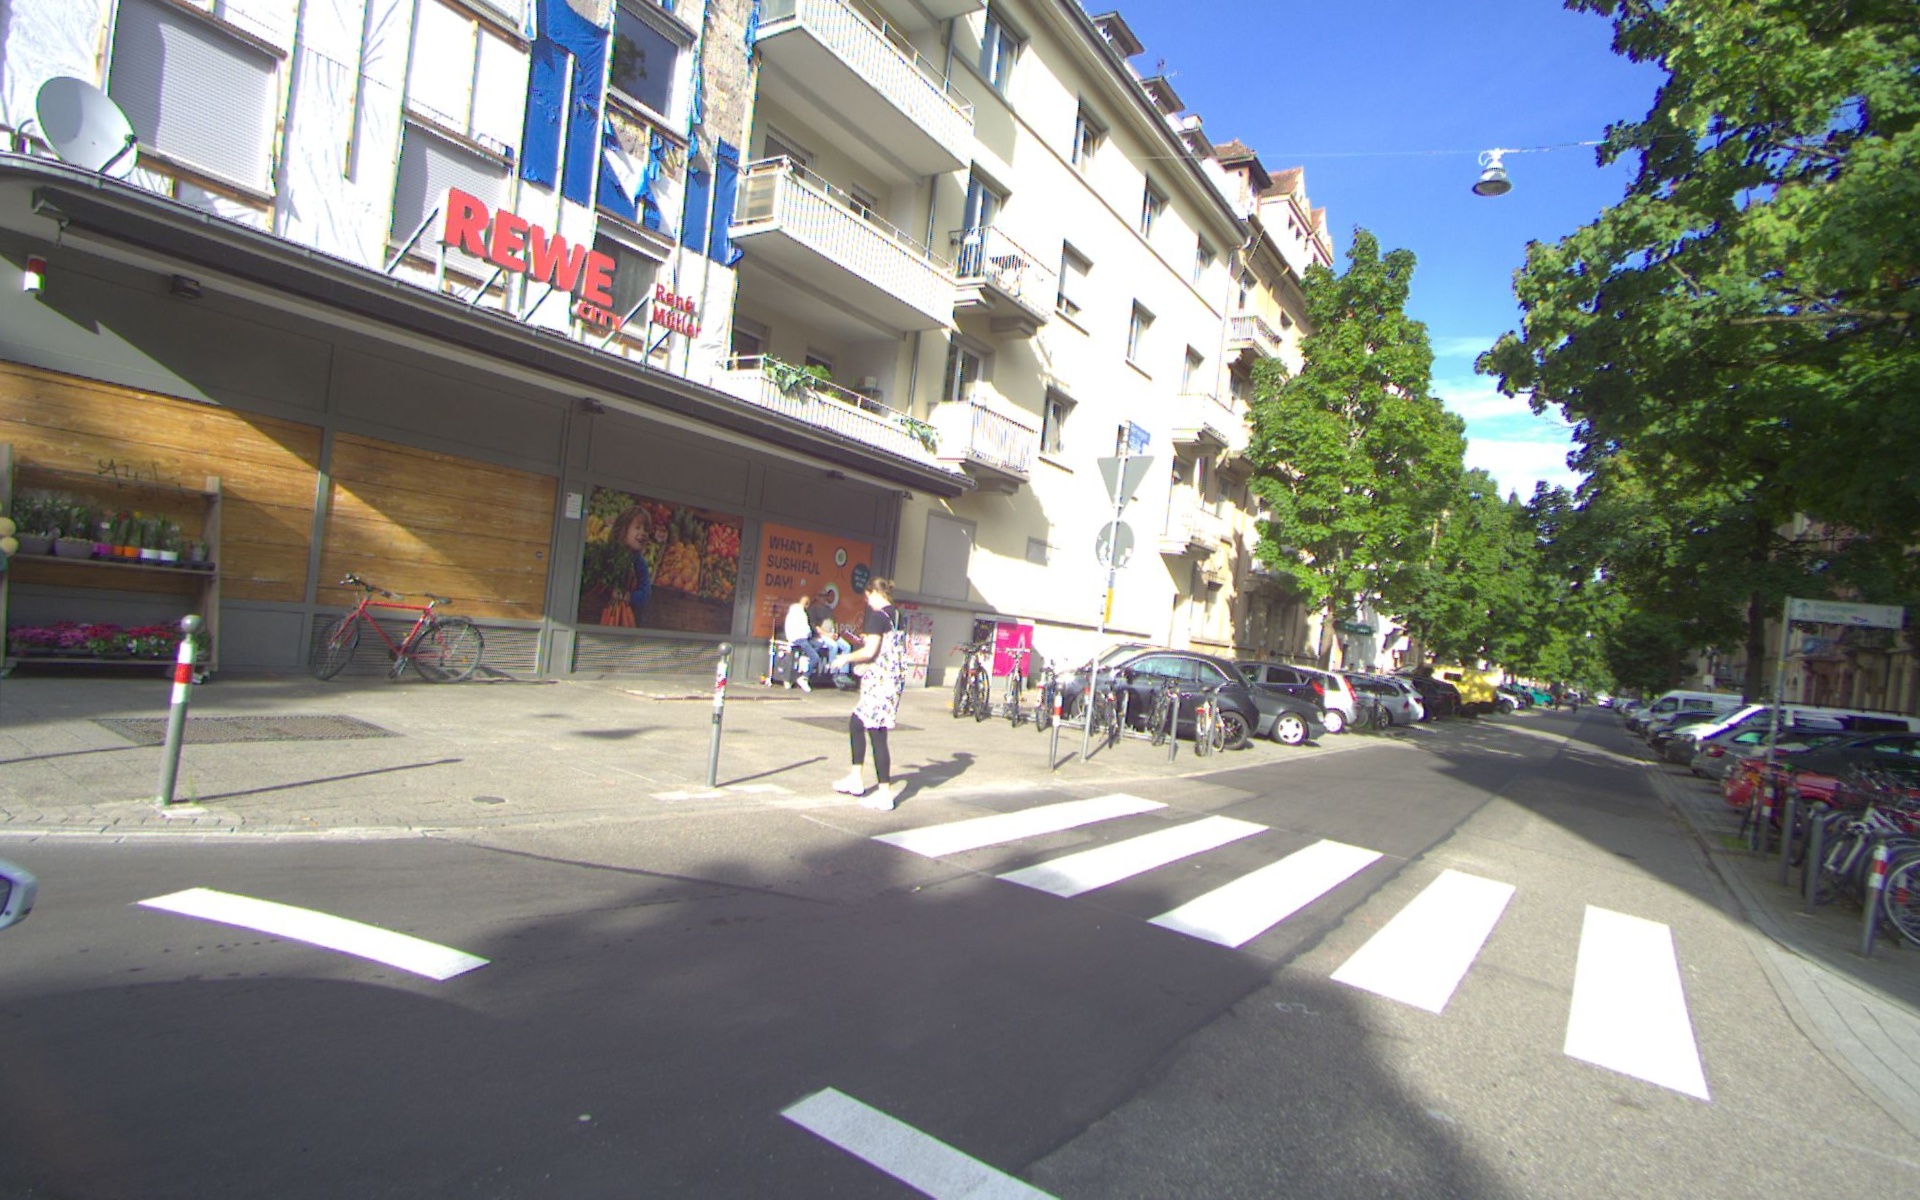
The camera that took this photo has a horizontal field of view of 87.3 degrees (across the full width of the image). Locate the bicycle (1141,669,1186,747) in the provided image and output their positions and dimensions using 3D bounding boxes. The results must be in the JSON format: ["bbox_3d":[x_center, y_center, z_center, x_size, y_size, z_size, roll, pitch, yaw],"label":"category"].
[{"bbox_3d":[3.071,1.608,15.250,0.483,1.013,1.424,8,0,9],"label":"bicycle"}]

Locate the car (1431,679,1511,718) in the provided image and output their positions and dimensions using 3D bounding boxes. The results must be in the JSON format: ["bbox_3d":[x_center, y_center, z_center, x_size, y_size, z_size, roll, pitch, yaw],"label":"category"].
[{"bbox_3d":[30.214,5.825,59.556,3.776,1.658,1.736,8,-1,16],"label":"car"}]

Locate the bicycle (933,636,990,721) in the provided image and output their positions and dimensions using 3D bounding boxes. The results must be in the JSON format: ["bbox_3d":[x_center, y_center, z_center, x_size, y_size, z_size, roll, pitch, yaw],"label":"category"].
[{"bbox_3d":[0.042,1.132,14.958,0.413,1.100,1.699,7,1,10],"label":"bicycle"}]

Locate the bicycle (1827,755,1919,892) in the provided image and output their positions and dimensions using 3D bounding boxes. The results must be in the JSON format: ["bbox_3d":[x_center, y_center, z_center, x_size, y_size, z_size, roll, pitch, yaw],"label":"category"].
[{"bbox_3d":[9.712,2.263,9.876,1.682,1.216,0.448,5,0,26],"label":"bicycle"}]

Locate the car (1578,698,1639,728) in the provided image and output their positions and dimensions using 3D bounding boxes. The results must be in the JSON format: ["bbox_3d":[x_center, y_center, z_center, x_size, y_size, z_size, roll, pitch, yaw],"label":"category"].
[{"bbox_3d":[51.360,8.971,79.736,3.935,1.752,1.826,6,-2,33],"label":"car"}]

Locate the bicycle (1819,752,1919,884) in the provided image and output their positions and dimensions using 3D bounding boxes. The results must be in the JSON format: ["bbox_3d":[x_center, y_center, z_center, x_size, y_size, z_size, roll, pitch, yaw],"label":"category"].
[{"bbox_3d":[10.000,2.302,10.339,1.687,1.216,0.446,4,0,38],"label":"bicycle"}]

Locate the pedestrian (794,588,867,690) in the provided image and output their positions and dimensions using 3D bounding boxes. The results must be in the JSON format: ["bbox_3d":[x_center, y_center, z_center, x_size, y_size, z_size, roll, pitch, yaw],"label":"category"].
[{"bbox_3d":[-2.069,0.624,16.079,0.741,1.524,0.667,7,0,30],"label":"pedestrian"}]

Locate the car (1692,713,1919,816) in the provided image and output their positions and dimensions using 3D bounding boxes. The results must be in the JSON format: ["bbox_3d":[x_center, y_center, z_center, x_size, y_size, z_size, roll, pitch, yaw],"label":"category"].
[{"bbox_3d":[16.532,3.150,19.525,3.652,1.474,1.666,3,-4,36],"label":"car"}]

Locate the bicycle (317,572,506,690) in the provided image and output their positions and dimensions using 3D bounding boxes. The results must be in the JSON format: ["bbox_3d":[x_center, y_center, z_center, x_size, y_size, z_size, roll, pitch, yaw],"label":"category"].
[{"bbox_3d":[-5.634,0.339,10.397,0.575,1.045,1.527,9,1,43],"label":"bicycle"}]

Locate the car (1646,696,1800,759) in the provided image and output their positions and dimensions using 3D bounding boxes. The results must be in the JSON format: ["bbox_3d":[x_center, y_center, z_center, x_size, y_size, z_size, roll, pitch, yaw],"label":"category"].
[{"bbox_3d":[28.937,4.797,38.337,4.386,1.855,1.933,3,-2,31],"label":"car"}]

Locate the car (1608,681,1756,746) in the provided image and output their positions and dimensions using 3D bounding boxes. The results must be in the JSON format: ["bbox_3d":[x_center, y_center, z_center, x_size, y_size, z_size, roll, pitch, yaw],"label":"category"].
[{"bbox_3d":[33.840,5.293,47.366,5.396,2.227,1.996,6,-2,35],"label":"car"}]

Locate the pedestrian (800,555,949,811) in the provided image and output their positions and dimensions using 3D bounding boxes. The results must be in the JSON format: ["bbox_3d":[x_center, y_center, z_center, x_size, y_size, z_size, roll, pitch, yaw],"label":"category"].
[{"bbox_3d":[-0.635,0.613,7.673,0.826,1.775,0.614,7,0,8],"label":"pedestrian"}]

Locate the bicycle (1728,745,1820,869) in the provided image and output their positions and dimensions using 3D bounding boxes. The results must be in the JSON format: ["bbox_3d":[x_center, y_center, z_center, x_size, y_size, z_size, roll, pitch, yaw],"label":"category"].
[{"bbox_3d":[9.400,2.331,11.682,0.573,1.109,2.493,3,-3,34],"label":"bicycle"}]

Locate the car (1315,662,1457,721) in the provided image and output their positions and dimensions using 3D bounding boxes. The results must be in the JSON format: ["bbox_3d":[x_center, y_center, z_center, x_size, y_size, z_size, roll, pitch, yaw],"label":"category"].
[{"bbox_3d":[16.231,3.478,38.499,4.542,1.513,1.752,8,-1,6],"label":"car"}]

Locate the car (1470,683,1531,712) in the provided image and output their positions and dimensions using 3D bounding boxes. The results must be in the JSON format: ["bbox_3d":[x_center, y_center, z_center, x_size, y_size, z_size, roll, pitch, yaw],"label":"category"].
[{"bbox_3d":[42.418,7.657,79.038,3.776,1.658,1.736,8,-1,16],"label":"car"}]

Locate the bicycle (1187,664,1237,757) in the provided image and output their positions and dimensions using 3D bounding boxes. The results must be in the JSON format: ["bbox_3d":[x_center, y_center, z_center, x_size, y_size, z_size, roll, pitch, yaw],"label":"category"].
[{"bbox_3d":[3.741,1.608,15.033,0.405,1.190,1.854,8,0,9],"label":"bicycle"}]

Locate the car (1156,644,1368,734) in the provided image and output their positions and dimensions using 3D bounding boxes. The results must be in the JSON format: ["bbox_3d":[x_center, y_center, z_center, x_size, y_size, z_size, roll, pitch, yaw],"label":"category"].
[{"bbox_3d":[7.206,2.109,24.411,4.542,1.451,1.752,8,-1,6],"label":"car"}]

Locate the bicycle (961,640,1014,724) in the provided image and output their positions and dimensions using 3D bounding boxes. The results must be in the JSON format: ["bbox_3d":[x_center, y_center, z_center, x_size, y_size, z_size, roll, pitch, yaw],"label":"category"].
[{"bbox_3d":[0.436,1.186,15.027,0.413,1.100,1.699,7,1,10],"label":"bicycle"}]

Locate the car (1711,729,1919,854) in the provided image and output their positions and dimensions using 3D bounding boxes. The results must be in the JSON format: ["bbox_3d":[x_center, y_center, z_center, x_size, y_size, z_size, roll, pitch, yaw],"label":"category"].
[{"bbox_3d":[12.312,2.559,12.930,4.046,1.284,1.566,4,-3,32],"label":"car"}]

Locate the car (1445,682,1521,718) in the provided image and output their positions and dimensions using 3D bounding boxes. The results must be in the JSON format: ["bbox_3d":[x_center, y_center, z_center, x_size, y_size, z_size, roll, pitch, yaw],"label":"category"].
[{"bbox_3d":[32.998,6.312,63.552,3.776,1.658,1.736,8,-1,8],"label":"car"}]

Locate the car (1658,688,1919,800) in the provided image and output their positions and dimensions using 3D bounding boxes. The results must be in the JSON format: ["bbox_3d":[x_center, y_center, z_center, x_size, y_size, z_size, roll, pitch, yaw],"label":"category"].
[{"bbox_3d":[19.609,3.303,23.800,4.831,2.013,2.043,3,-2,31],"label":"car"}]

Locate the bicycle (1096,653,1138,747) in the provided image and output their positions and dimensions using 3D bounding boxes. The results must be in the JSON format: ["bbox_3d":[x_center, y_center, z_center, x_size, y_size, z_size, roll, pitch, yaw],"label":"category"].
[{"bbox_3d":[2.253,1.389,14.413,0.405,1.190,1.854,8,0,9],"label":"bicycle"}]

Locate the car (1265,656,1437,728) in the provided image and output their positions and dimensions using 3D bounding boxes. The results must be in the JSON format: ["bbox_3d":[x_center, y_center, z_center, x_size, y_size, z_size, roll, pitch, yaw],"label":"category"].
[{"bbox_3d":[12.128,2.830,31.438,4.542,1.513,1.752,8,-1,6],"label":"car"}]

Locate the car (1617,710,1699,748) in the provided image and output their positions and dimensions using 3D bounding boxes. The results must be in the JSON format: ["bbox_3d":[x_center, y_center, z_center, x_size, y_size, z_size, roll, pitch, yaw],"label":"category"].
[{"bbox_3d":[43.333,7.994,62.548,3.935,1.752,1.826,6,-2,33],"label":"car"}]

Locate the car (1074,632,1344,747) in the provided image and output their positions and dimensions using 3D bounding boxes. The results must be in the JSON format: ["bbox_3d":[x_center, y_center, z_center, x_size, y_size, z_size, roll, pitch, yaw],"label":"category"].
[{"bbox_3d":[4.677,1.672,19.431,4.581,1.472,1.957,8,-1,-1],"label":"car"}]

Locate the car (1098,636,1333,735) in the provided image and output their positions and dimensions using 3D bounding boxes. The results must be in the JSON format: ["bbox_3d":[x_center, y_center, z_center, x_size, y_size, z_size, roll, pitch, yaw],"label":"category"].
[{"bbox_3d":[5.500,1.832,22.027,4.545,1.451,1.750,8,-1,-1],"label":"car"}]

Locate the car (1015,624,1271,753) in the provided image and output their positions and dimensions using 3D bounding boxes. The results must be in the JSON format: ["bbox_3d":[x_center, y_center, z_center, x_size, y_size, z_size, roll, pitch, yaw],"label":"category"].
[{"bbox_3d":[3.017,1.447,17.147,3.925,1.473,1.810,8,1,5],"label":"car"}]

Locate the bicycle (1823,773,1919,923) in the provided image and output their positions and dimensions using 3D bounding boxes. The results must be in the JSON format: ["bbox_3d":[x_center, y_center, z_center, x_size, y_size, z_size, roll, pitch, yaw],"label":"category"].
[{"bbox_3d":[8.284,2.110,8.030,0.445,1.102,2.021,5,-1,-43],"label":"bicycle"}]

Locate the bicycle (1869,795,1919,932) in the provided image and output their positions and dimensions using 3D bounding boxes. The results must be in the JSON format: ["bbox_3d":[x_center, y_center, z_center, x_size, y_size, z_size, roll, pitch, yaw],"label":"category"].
[{"bbox_3d":[8.070,2.137,7.601,0.445,0.999,1.692,5,-1,-43],"label":"bicycle"}]

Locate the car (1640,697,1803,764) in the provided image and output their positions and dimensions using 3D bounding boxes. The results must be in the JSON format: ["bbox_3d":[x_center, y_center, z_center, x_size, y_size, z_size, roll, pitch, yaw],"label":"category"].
[{"bbox_3d":[27.330,4.660,36.310,4.386,1.855,1.933,3,-2,31],"label":"car"}]

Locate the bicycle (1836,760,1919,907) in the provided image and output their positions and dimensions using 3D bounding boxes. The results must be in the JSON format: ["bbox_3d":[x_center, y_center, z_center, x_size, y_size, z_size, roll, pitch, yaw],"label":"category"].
[{"bbox_3d":[9.092,2.179,9.059,1.681,1.216,0.448,5,0,20],"label":"bicycle"}]

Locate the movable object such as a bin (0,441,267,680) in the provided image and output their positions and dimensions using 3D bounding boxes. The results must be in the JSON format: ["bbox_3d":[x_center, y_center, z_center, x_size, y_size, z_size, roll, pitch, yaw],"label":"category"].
[{"bbox_3d":[-6.943,-0.274,8.442,0.679,1.776,1.546,9,1,31],"label":"movable object such as a bin"}]

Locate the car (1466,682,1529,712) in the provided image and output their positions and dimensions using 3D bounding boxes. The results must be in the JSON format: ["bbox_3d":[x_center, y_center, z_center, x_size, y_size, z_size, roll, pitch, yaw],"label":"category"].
[{"bbox_3d":[40.894,7.362,76.599,3.776,1.658,1.736,8,-1,16],"label":"car"}]

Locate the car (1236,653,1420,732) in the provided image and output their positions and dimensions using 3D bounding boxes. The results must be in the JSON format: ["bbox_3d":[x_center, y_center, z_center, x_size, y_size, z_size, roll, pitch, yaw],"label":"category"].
[{"bbox_3d":[10.496,2.622,28.981,4.542,1.513,1.752,8,-1,6],"label":"car"}]

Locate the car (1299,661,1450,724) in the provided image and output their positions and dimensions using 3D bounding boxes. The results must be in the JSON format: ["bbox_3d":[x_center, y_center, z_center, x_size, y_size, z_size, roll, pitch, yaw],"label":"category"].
[{"bbox_3d":[14.811,3.287,36.149,4.542,1.513,1.752,8,-1,6],"label":"car"}]

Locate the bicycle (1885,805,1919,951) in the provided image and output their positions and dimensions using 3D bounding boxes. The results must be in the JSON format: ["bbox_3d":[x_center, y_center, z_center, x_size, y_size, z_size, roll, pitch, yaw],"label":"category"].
[{"bbox_3d":[7.536,2.074,6.887,0.445,0.981,1.692,5,-1,-43],"label":"bicycle"}]

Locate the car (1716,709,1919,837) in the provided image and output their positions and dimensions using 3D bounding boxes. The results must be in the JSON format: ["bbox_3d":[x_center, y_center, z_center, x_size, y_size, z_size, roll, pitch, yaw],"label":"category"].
[{"bbox_3d":[14.337,2.698,15.404,4.253,1.588,1.998,3,-2,40],"label":"car"}]

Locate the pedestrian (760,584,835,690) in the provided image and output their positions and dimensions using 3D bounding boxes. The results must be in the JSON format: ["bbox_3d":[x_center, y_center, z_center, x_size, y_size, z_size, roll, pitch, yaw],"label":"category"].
[{"bbox_3d":[-2.490,0.578,15.430,0.656,1.524,0.752,7,0,28],"label":"pedestrian"}]

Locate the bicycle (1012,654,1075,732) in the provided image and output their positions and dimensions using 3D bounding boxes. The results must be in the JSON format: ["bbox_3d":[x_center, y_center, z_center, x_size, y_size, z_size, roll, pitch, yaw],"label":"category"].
[{"bbox_3d":[1.236,1.332,14.674,0.406,1.031,1.502,8,0,20],"label":"bicycle"}]

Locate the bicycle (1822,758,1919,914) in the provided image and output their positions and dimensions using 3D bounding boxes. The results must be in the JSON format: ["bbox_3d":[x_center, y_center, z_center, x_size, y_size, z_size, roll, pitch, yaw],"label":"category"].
[{"bbox_3d":[8.551,2.100,8.590,0.445,1.216,1.692,5,0,-43],"label":"bicycle"}]

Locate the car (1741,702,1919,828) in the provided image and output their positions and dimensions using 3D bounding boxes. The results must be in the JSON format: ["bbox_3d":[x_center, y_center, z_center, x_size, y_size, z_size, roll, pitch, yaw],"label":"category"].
[{"bbox_3d":[15.886,2.906,17.288,3.651,1.741,1.856,6,-2,36],"label":"car"}]

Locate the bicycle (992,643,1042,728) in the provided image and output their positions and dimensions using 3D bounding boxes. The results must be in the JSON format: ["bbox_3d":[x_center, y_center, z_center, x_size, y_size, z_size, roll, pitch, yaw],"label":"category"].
[{"bbox_3d":[0.867,1.238,14.920,0.413,1.100,1.699,7,1,10],"label":"bicycle"}]

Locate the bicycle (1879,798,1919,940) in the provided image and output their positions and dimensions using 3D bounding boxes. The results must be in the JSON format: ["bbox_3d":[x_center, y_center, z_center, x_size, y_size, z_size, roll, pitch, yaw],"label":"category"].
[{"bbox_3d":[7.820,2.098,7.241,0.445,0.999,1.692,5,-1,-43],"label":"bicycle"}]

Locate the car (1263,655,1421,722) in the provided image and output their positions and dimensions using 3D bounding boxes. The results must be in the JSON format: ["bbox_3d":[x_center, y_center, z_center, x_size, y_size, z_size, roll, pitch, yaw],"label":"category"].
[{"bbox_3d":[12.729,2.928,33.755,4.542,1.513,1.752,8,-1,6],"label":"car"}]

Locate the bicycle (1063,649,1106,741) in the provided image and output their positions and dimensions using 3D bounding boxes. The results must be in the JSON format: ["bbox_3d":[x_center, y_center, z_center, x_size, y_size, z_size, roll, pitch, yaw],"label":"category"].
[{"bbox_3d":[1.851,1.353,14.813,0.405,1.190,1.854,8,0,9],"label":"bicycle"}]

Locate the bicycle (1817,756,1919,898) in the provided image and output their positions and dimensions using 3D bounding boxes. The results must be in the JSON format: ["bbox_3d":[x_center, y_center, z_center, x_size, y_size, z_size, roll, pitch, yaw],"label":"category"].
[{"bbox_3d":[9.340,2.220,9.558,1.682,1.216,0.448,5,0,26],"label":"bicycle"}]

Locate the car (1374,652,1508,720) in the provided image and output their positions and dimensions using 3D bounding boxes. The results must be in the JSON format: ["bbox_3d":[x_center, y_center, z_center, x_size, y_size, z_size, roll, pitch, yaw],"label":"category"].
[{"bbox_3d":[21.588,3.834,45.309,4.721,2.247,2.149,8,-1,2],"label":"car"}]
